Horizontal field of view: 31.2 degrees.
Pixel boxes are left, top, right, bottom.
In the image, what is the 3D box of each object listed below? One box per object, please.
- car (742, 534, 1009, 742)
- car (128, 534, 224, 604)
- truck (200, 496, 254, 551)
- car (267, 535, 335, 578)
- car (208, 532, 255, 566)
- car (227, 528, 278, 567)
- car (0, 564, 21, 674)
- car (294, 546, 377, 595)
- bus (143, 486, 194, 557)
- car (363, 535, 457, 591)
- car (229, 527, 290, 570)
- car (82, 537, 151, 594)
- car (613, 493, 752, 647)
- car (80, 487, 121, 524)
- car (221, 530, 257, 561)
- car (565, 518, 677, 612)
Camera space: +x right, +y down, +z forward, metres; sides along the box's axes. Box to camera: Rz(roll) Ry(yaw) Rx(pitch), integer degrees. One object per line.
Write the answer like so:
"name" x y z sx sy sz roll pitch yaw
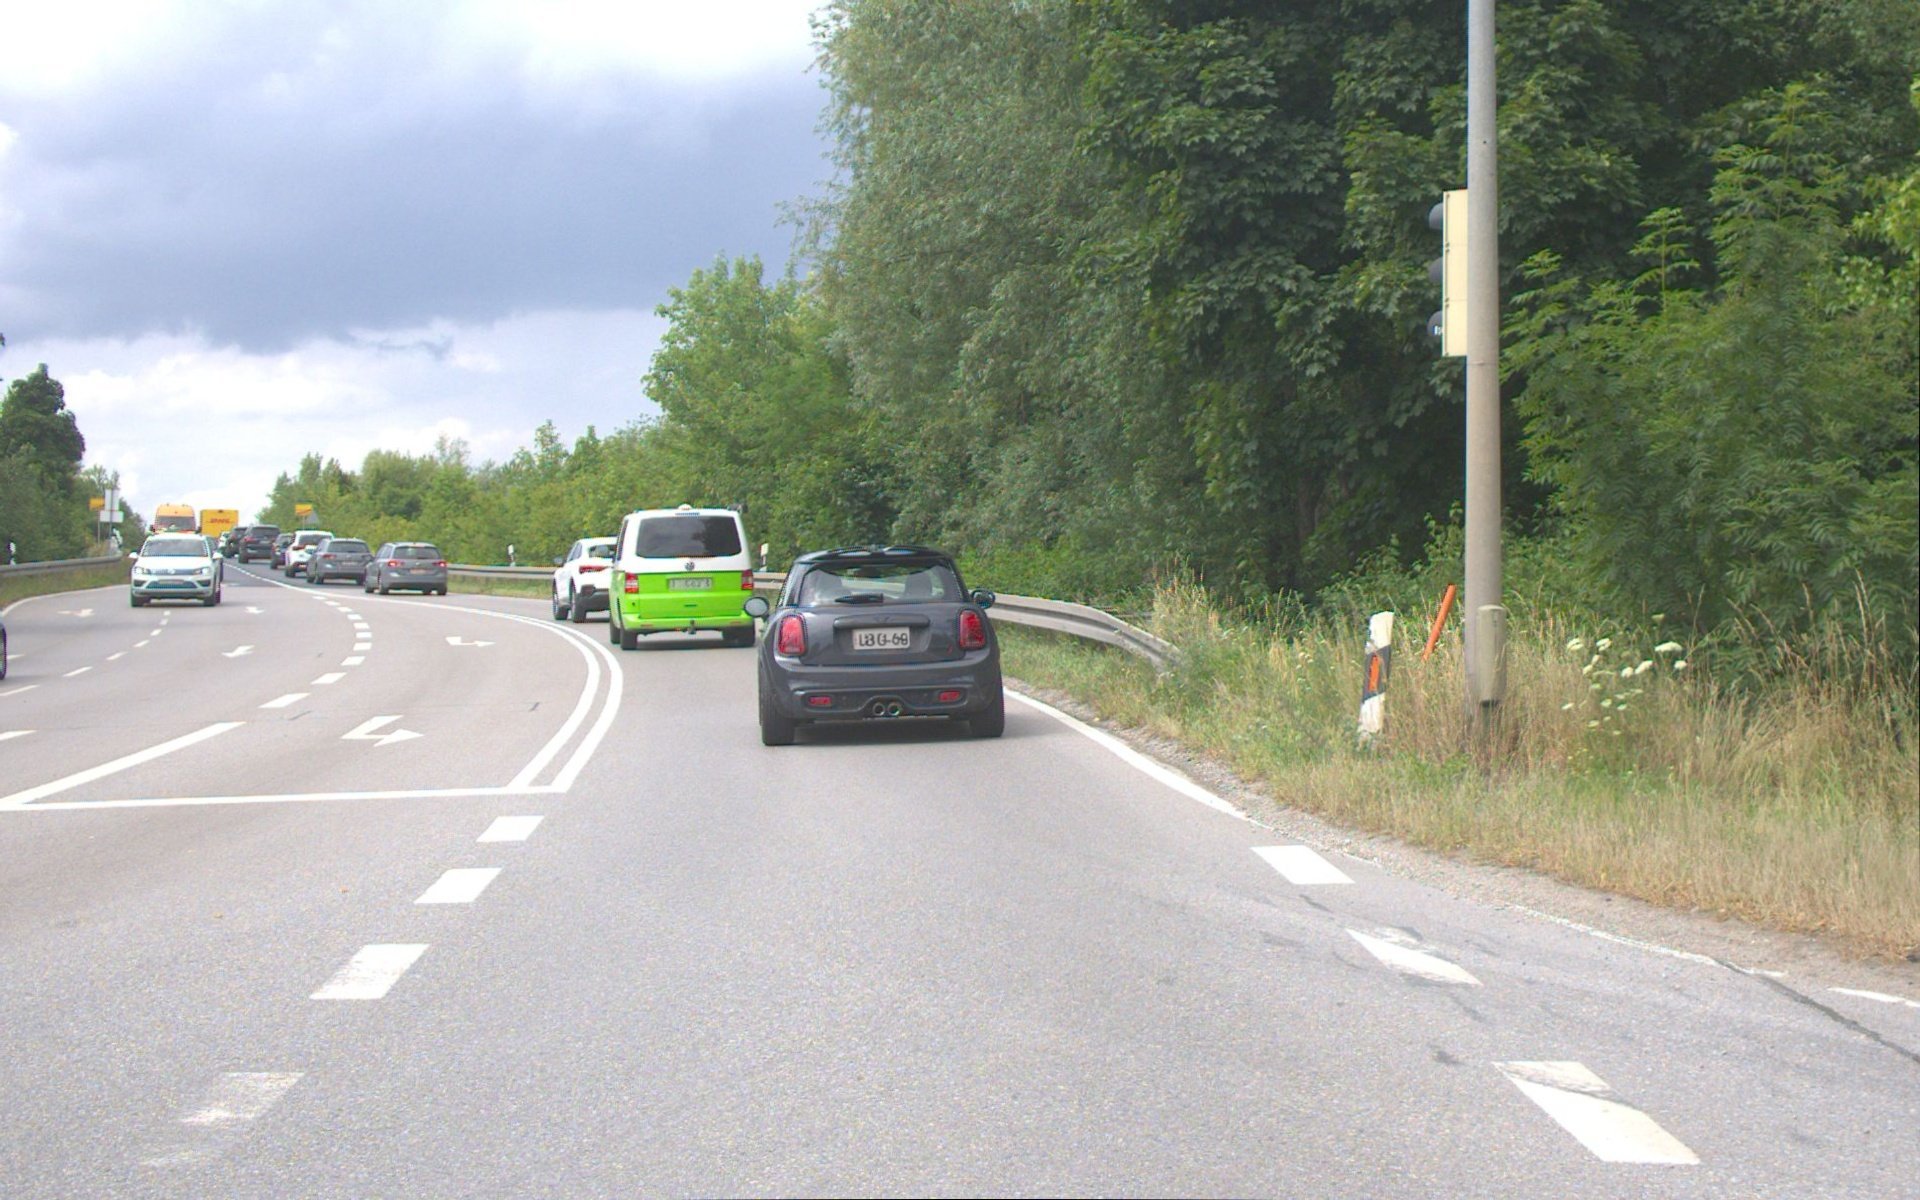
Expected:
"car" -0.606 0.250 25.909 1.845 1.423 3.841 -1 0 0
"car" -18.611 -0.761 81.788 1.993 1.607 4.001 0 1 -10
"truck" -45.287 -4.713 212.638 2.716 2.888 8.772 1 -2 -9
"car" -23.537 -1.535 122.645 1.993 1.471 4.487 1 0 -15
"car" -37.942 -2.650 178.990 1.993 1.690 4.487 1 0 -17
"car" -32.733 -2.422 158.885 1.993 1.690 4.487 1 0 -15
"car" -13.172 0.300 43.352 1.737 1.401 4.251 -2 1 -4
"car" -19.760 -0.918 108.628 1.993 1.471 4.487 1 0 -18
"bus" -37.480 -3.693 162.685 1.993 3.291 7.431 0 1 -15
"car" -15.069 -0.989 94.060 1.993 1.471 4.487 1 0 -16
"car" -28.511 -2.081 139.839 1.993 1.690 4.487 1 0 -17
"car" -25.921 -1.079 105.728 1.993 1.684 4.001 0 1 -13
"car" -3.982 -0.464 48.844 1.844 1.980 3.842 0 4 -6
"car" -46.581 -5.105 186.458 1.993 2.007 4.001 0 1 -12
"car" -41.651 -3.146 198.444 1.993 1.781 4.487 0 1 -12
"car" -6.358 -0.648 64.098 1.993 1.678 4.001 0 1 -7
